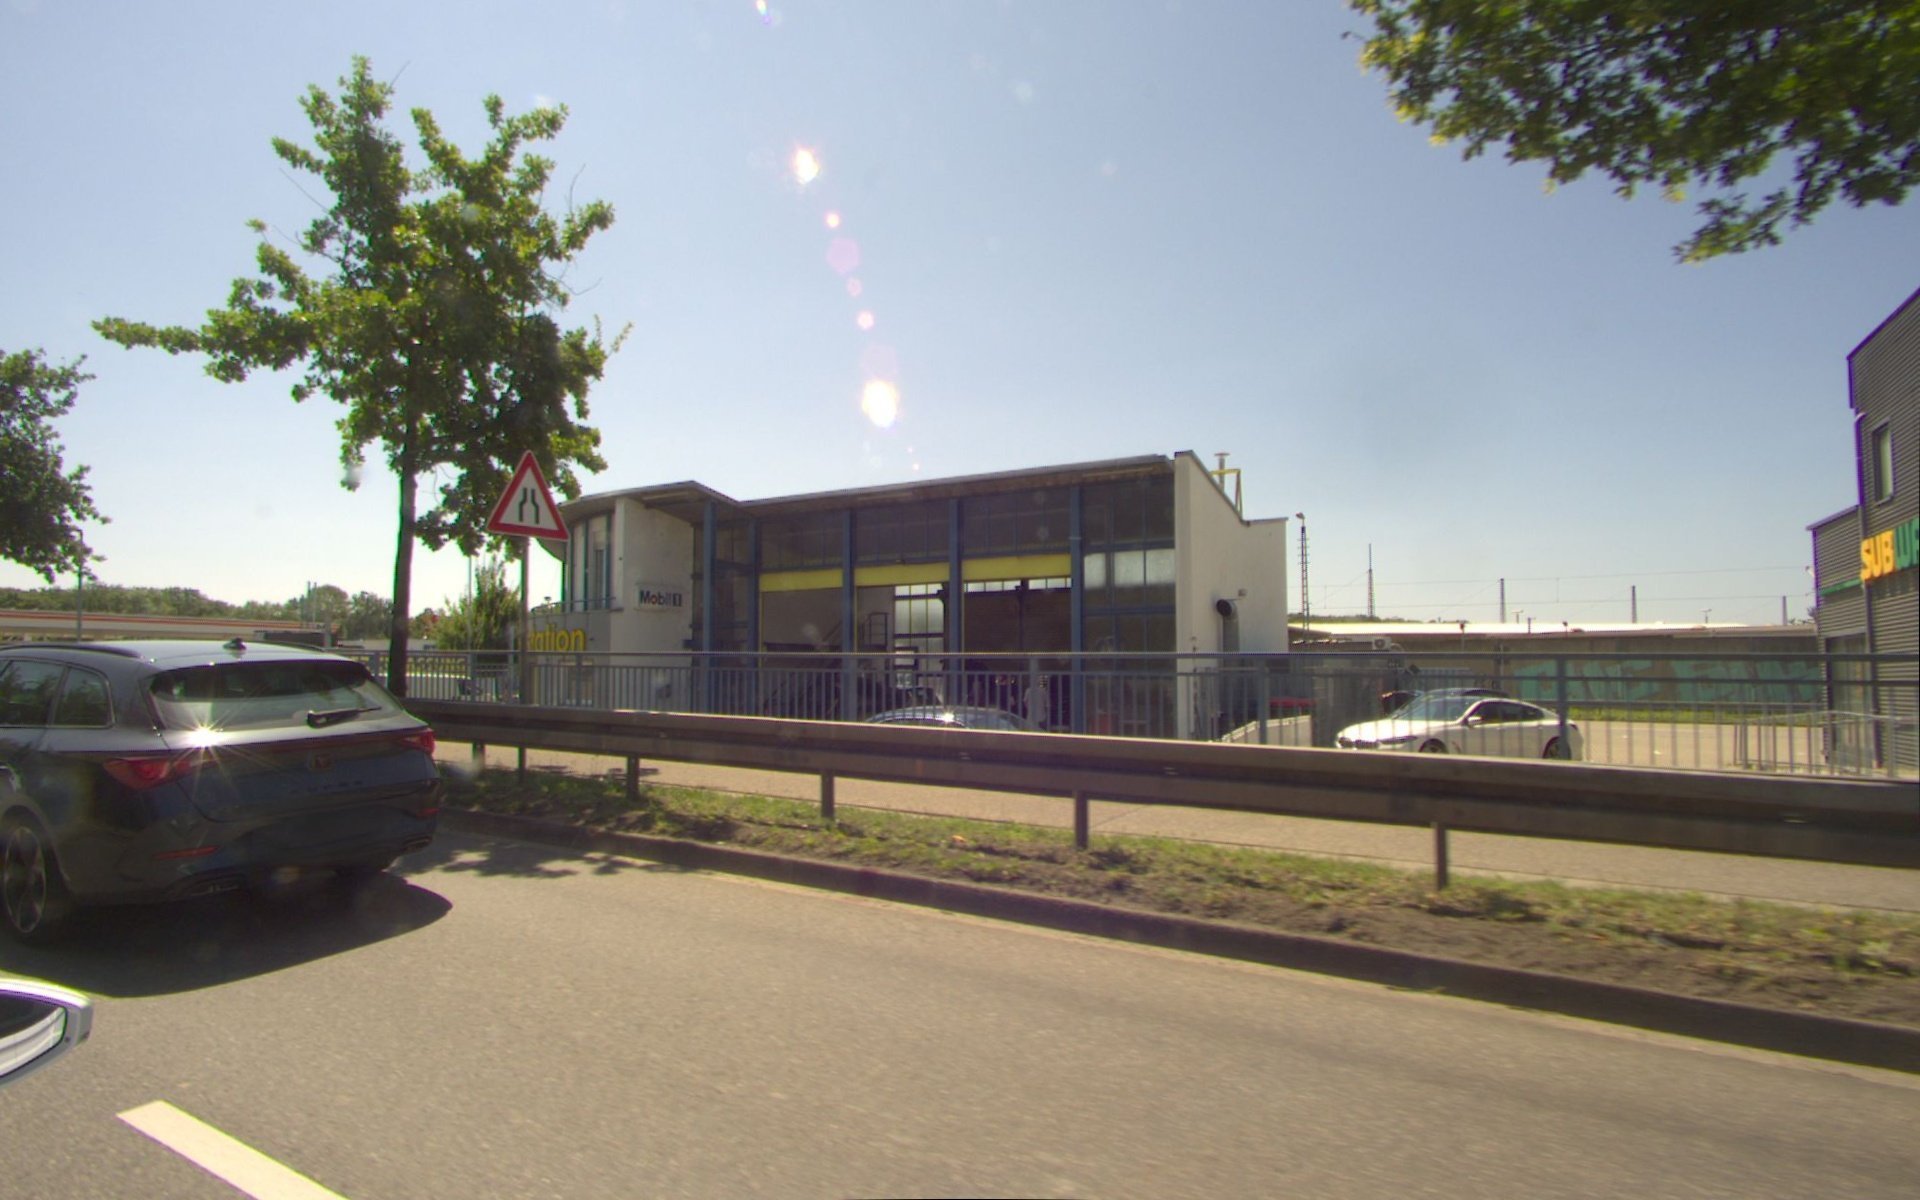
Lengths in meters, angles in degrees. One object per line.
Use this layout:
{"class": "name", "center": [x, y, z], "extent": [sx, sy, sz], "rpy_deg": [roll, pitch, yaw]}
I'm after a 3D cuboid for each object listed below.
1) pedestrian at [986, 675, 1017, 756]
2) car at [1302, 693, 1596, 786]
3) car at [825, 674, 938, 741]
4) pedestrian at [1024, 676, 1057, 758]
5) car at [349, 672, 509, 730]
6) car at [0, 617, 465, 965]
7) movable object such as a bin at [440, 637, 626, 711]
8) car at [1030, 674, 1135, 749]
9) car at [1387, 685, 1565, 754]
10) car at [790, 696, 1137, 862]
{"class": "pedestrian", "center": [0.911, 2.507, 21.825], "extent": [0.481, 1.724, 0.521], "rpy_deg": [-1, -2, 31]}
{"class": "car", "center": [9.005, 2.481, 18.447], "extent": [4.998, 1.374, 1.996], "rpy_deg": [1, -3, -21]}
{"class": "car", "center": [-2.182, 3.013, 28.629], "extent": [1.624, 1.704, 3.670], "rpy_deg": [-1, -3, 25]}
{"class": "pedestrian", "center": [1.727, 2.494, 21.485], "extent": [0.581, 1.724, 0.425], "rpy_deg": [-1, -2, 30]}
{"class": "car", "center": [-17.560, 3.294, 33.357], "extent": [1.572, 1.680, 4.593], "rpy_deg": [-2, -3, 28]}
{"class": "car", "center": [-5.015, 0.907, 5.988], "extent": [4.171, 1.474, 1.604], "rpy_deg": [-2, -3, 29]}
{"class": "movable object such as a bin", "center": [-23.907, 4.109, 57.099], "extent": [2.985, 3.753, 11.064], "rpy_deg": [-1, -3, 20]}
{"class": "car", "center": [3.246, 2.828, 26.013], "extent": [1.624, 1.704, 3.669], "rpy_deg": [-1, -3, 26]}
{"class": "car", "center": [13.452, 3.050, 26.086], "extent": [4.326, 1.578, 1.653], "rpy_deg": [1, -3, -21]}
{"class": "car", "center": [-0.018, 1.982, 11.880], "extent": [3.844, 1.551, 1.631], "rpy_deg": [-2, -3, 31]}
